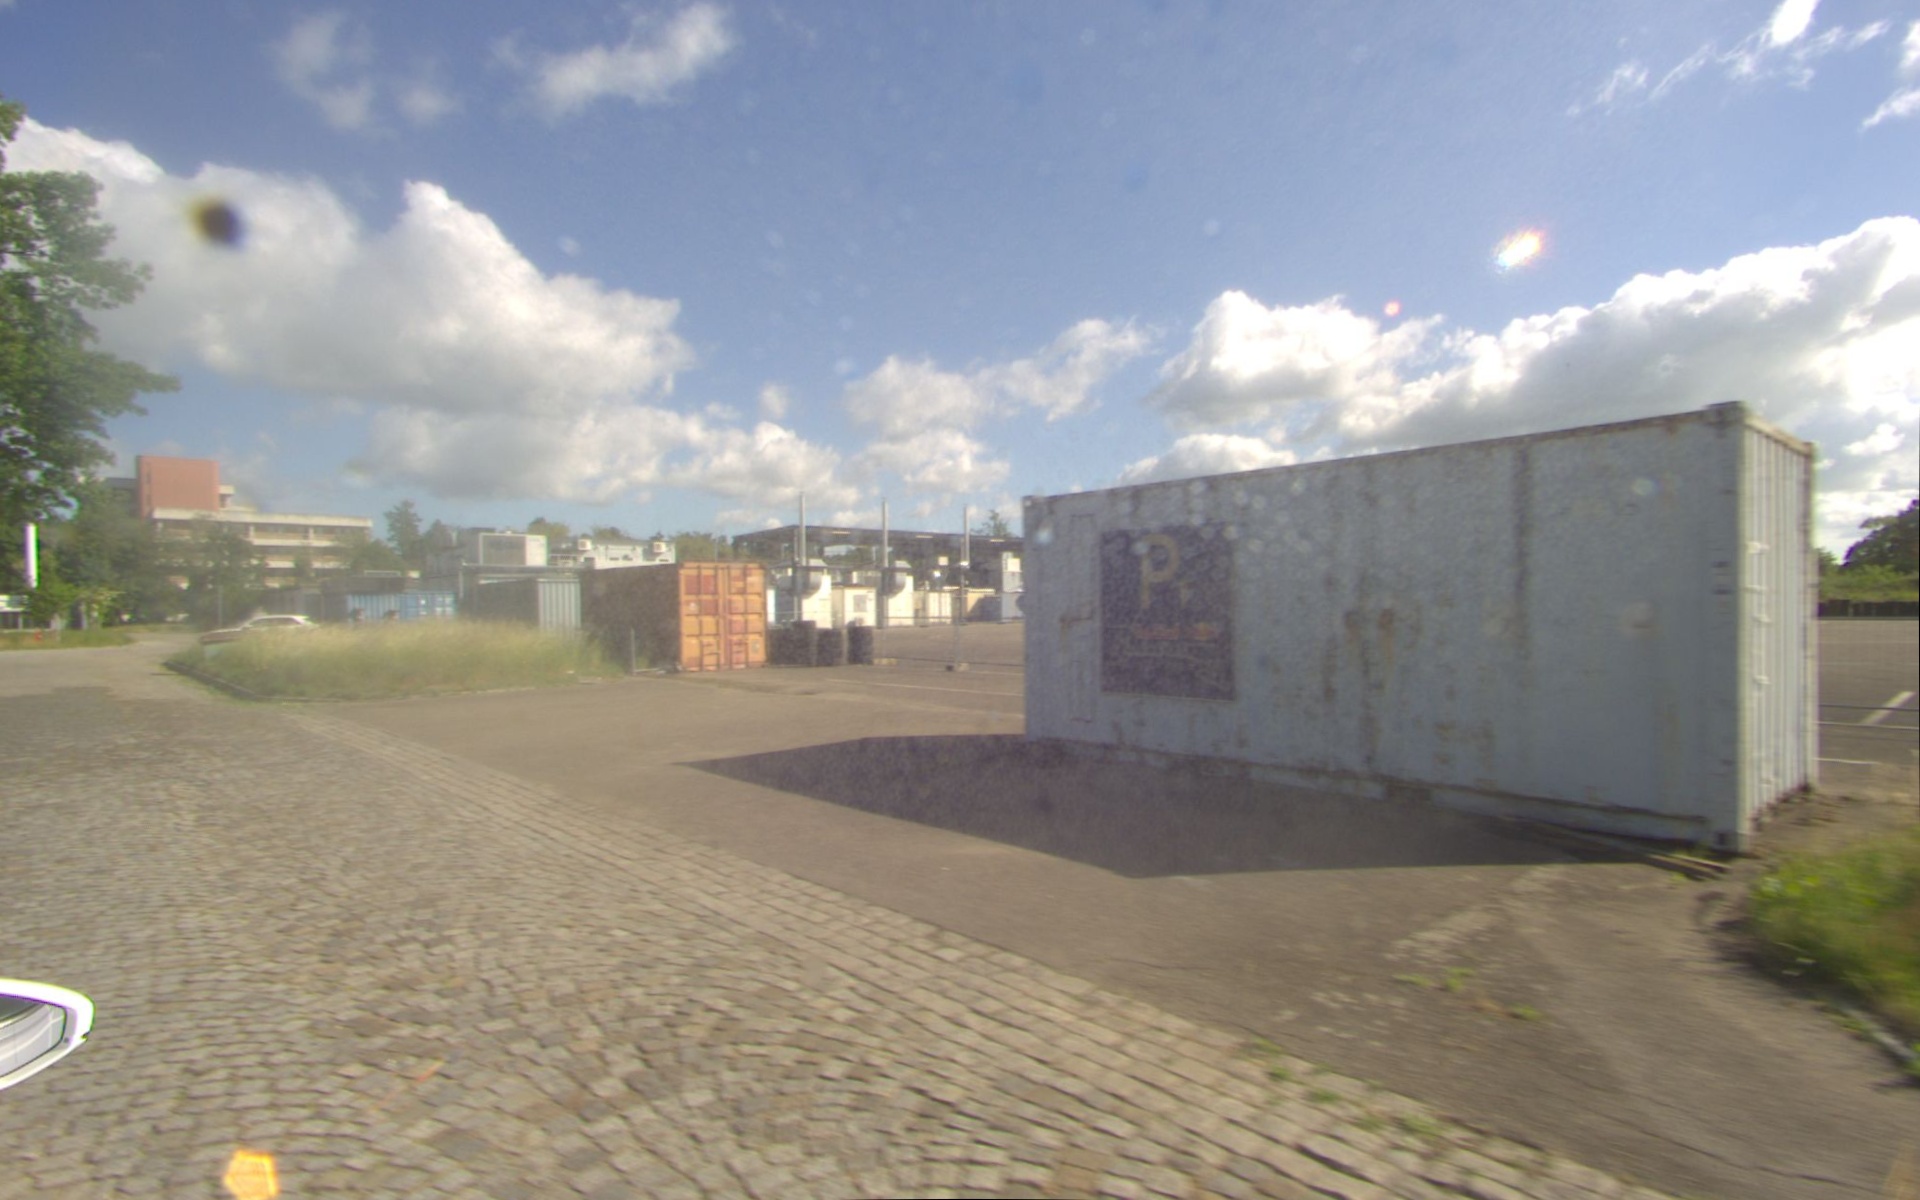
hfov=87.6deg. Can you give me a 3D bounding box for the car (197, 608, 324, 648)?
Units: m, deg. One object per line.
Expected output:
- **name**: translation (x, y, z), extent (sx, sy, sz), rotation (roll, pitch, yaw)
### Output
- **car**: translation (-31.640, 1.226, 45.359), extent (4.474, 1.669, 1.980), rotation (0, 0, -44)
